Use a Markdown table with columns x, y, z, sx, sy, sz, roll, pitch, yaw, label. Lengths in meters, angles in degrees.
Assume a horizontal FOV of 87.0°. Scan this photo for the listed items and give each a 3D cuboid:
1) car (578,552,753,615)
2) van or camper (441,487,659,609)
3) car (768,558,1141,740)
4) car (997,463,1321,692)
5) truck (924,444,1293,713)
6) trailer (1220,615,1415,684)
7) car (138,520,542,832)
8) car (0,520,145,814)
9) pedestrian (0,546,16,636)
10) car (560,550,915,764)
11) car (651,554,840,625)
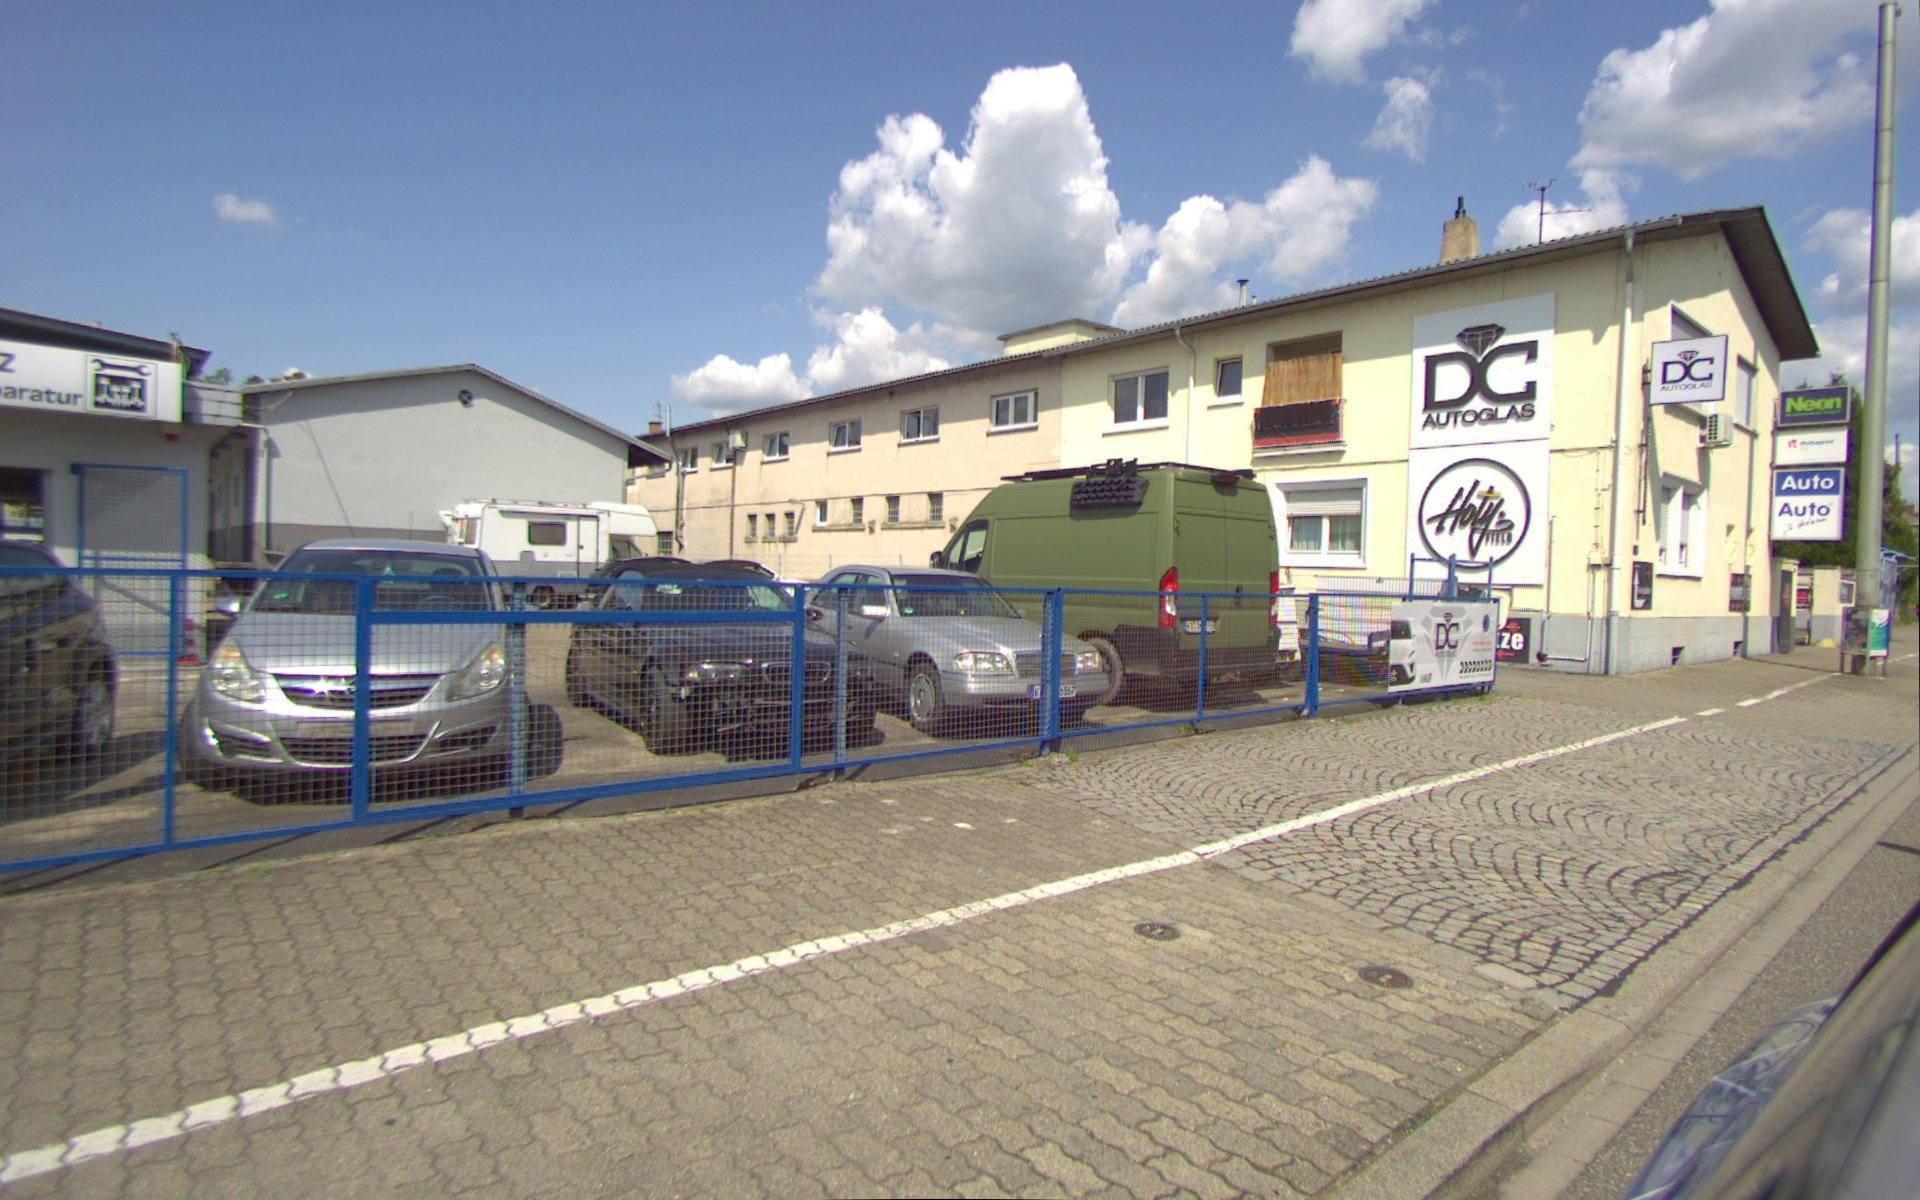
| x | y | z | sx | sy | sz | roll | pitch | yaw | label |
| --- | --- | --- | --- | --- | --- | --- | --- | --- | --- |
| -7.482 | -0.413 | 25.893 | 3.939 | 1.497 | 1.719 | 0 | 2 | -41 | car |
| -11.010 | -1.326 | 27.371 | 4.971 | 2.999 | 2.284 | 0 | 2 | -42 | van or camper |
| -0.298 | 0.317 | 10.209 | 1.768 | 1.413 | 4.216 | 1 | 2 | -33 | car |
| 2.610 | -0.348 | 14.146 | 1.771 | 2.702 | 4.208 | 1 | 2 | -40 | car |
| 1.621 | -0.287 | 12.149 | 2.033 | 2.639 | 3.996 | 1 | 2 | -40 | truck |
| 5.080 | 0.667 | 14.532 | 1.245 | 0.776 | 2.330 | 0 | 2 | -39 | trailer |
| -3.952 | 0.300 | 7.105 | 1.766 | 1.497 | 4.158 | 1 | 2 | -24 | car |
| -5.749 | 0.322 | 5.037 | 1.685 | 1.497 | 4.012 | 1 | 2 | -25 | car |
| -13.261 | -0.131 | 13.844 | 0.479 | 1.228 | 0.501 | 1 | 1 | -42 | pedestrian |
| -2.126 | 0.307 | 8.750 | 1.768 | 1.403 | 3.837 | 1 | 2 | -32 | car |
| -4.928 | -0.249 | 23.523 | 3.939 | 1.497 | 1.719 | 0 | 2 | -41 | car |
